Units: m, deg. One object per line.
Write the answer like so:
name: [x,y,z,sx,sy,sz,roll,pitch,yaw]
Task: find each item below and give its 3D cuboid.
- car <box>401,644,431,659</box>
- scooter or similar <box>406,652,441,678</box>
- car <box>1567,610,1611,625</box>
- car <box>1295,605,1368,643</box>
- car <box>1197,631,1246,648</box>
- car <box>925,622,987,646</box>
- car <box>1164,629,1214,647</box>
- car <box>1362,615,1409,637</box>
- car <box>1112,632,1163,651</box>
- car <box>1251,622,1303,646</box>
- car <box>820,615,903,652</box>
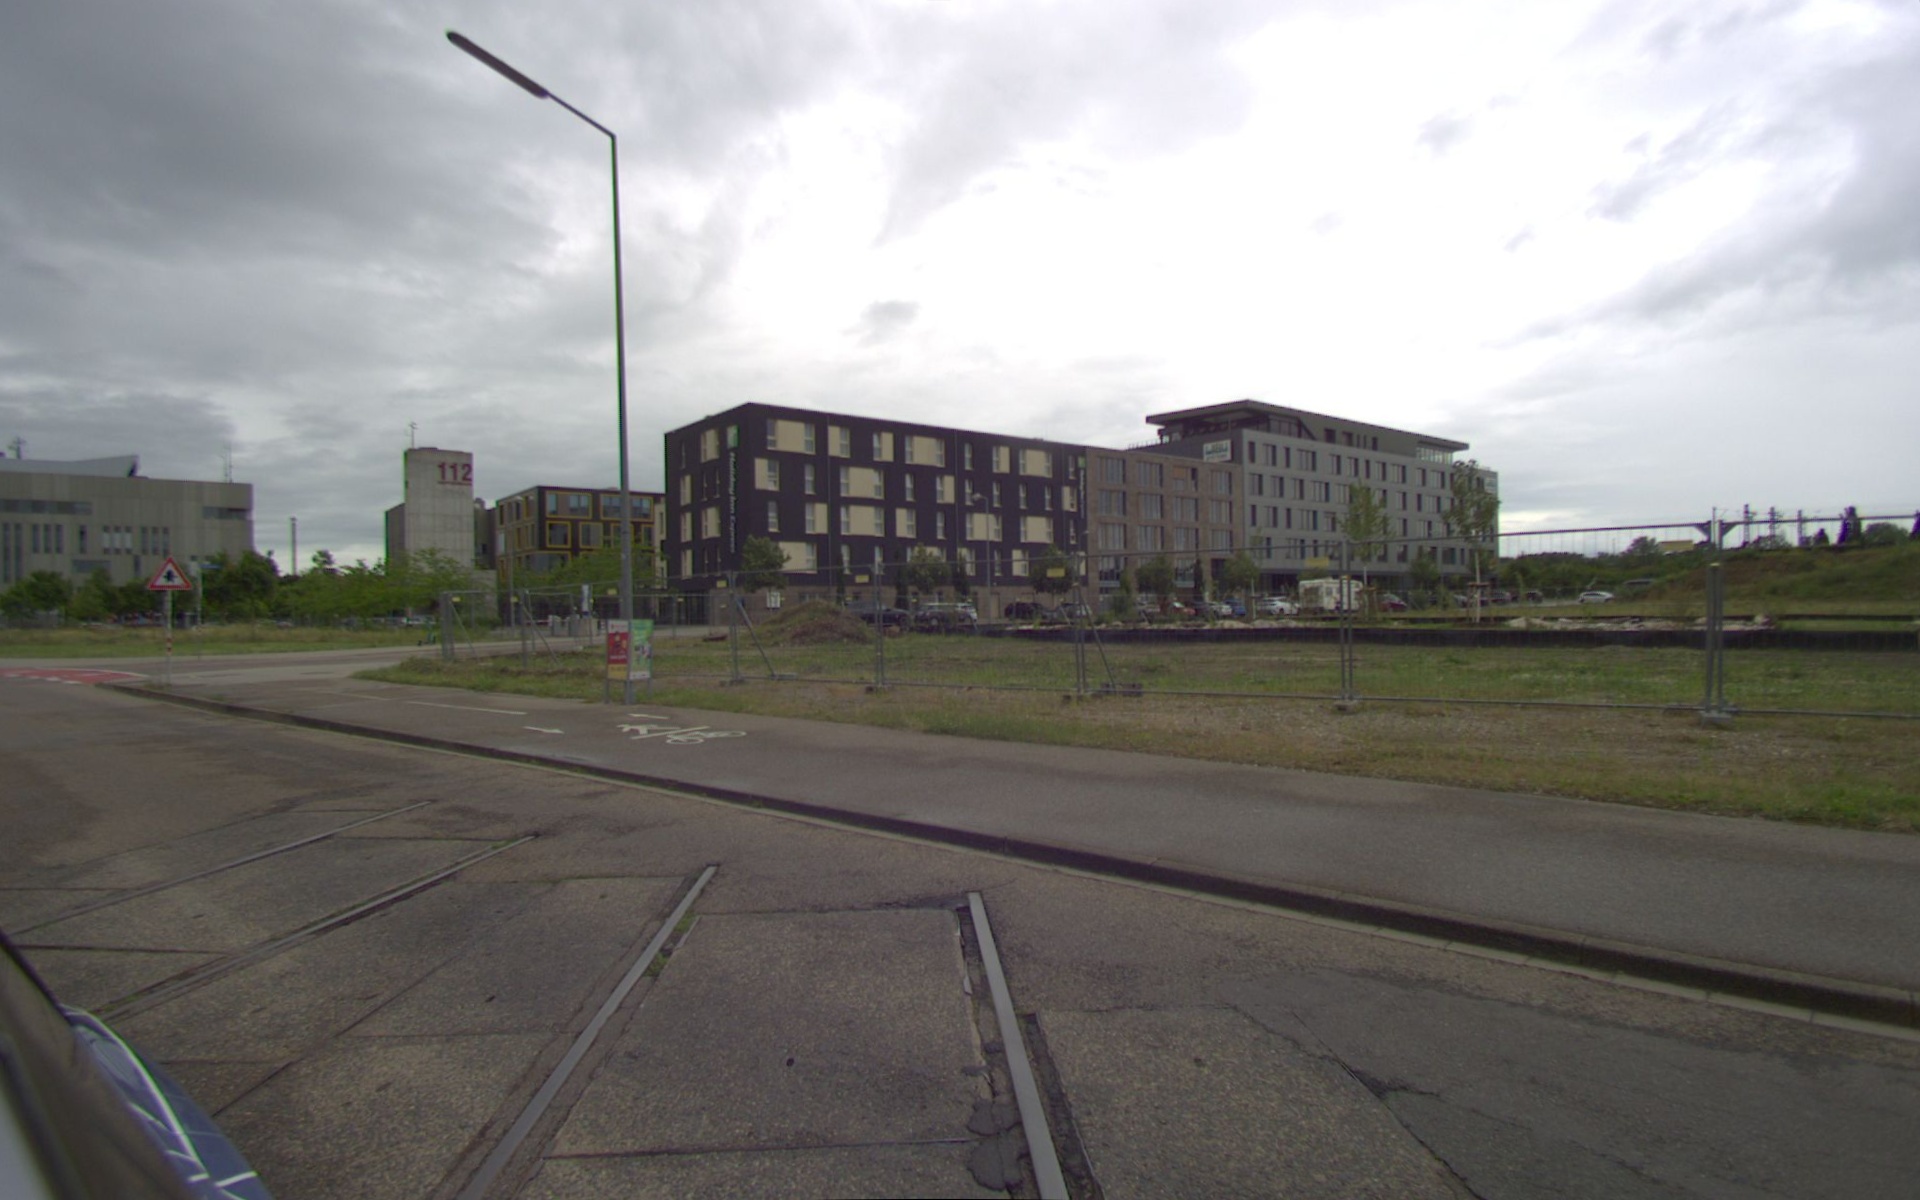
car: [-61.602,5.856,114.571,1.970,1.535,4.003,2,-4,-44]
scooter or similar: [-26.198,3.157,49.474,0.568,1.177,1.455,-2,-1,25]
car: [74.402,2.073,119.706,4.000,1.630,1.972,-4,-3,43]
car: [31.197,1.990,84.956,6.471,2.979,2.719,-1,-2,-39]
car: [23.754,3.587,92.056,1.718,1.469,4.005,0,-2,-42]
car: [-0.318,2.426,72.090,4.154,1.529,1.971,-4,-3,43]
car: [20.053,3.353,88.755,1.718,1.469,4.005,0,-2,-42]
car: [37.932,2.337,90.183,4.454,1.852,2.003,0,-2,-40]
car: [14.807,3.456,84.601,1.718,1.469,4.005,0,-2,-42]
car: [25.039,2.674,79.779,3.936,1.760,2.004,-1,-2,-39]
car: [-5.323,1.791,54.752,3.936,1.837,2.004,-1,-2,-38]
